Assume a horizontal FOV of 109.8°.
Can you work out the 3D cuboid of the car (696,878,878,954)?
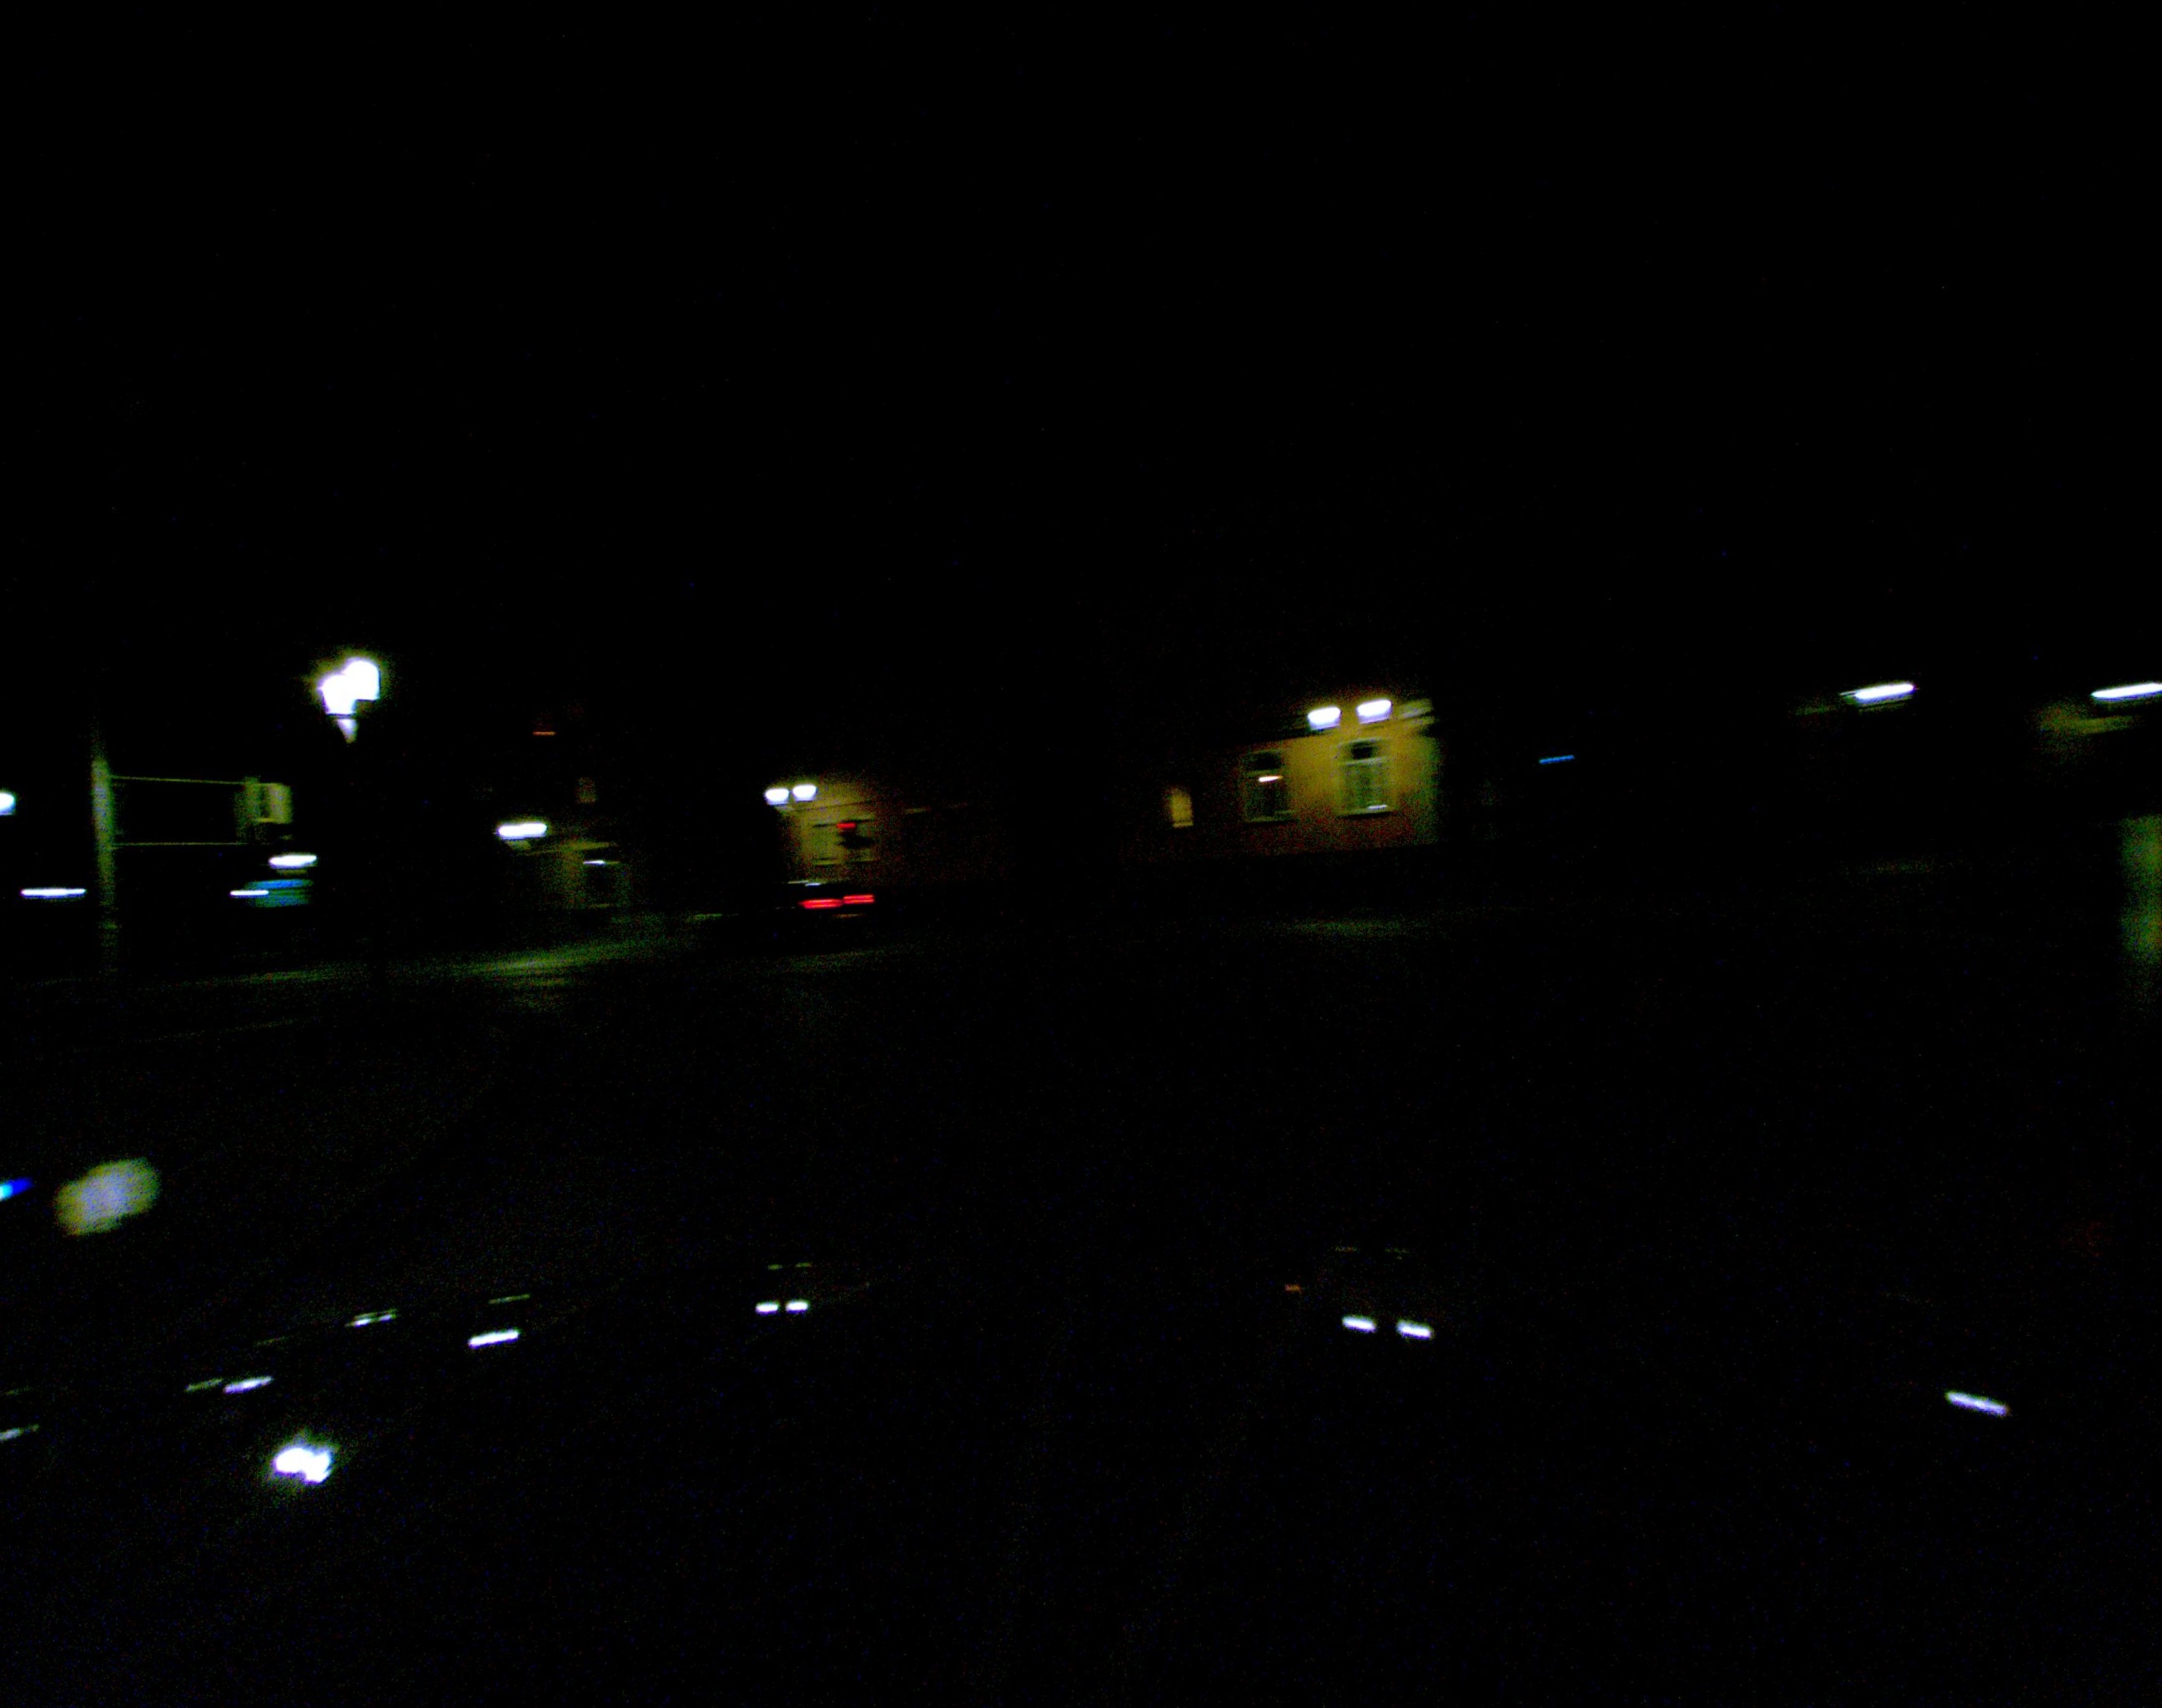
[{"bbox_3d":[-7.497,1.577,19.373,4.233,1.575,1.744,-5,0,25],"label":"car"}]

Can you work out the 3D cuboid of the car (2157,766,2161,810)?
[{"bbox_3d":[40.033,-2.494,26.642,4.003,1.510,1.732,-5,0,-22],"label":"car"}]
